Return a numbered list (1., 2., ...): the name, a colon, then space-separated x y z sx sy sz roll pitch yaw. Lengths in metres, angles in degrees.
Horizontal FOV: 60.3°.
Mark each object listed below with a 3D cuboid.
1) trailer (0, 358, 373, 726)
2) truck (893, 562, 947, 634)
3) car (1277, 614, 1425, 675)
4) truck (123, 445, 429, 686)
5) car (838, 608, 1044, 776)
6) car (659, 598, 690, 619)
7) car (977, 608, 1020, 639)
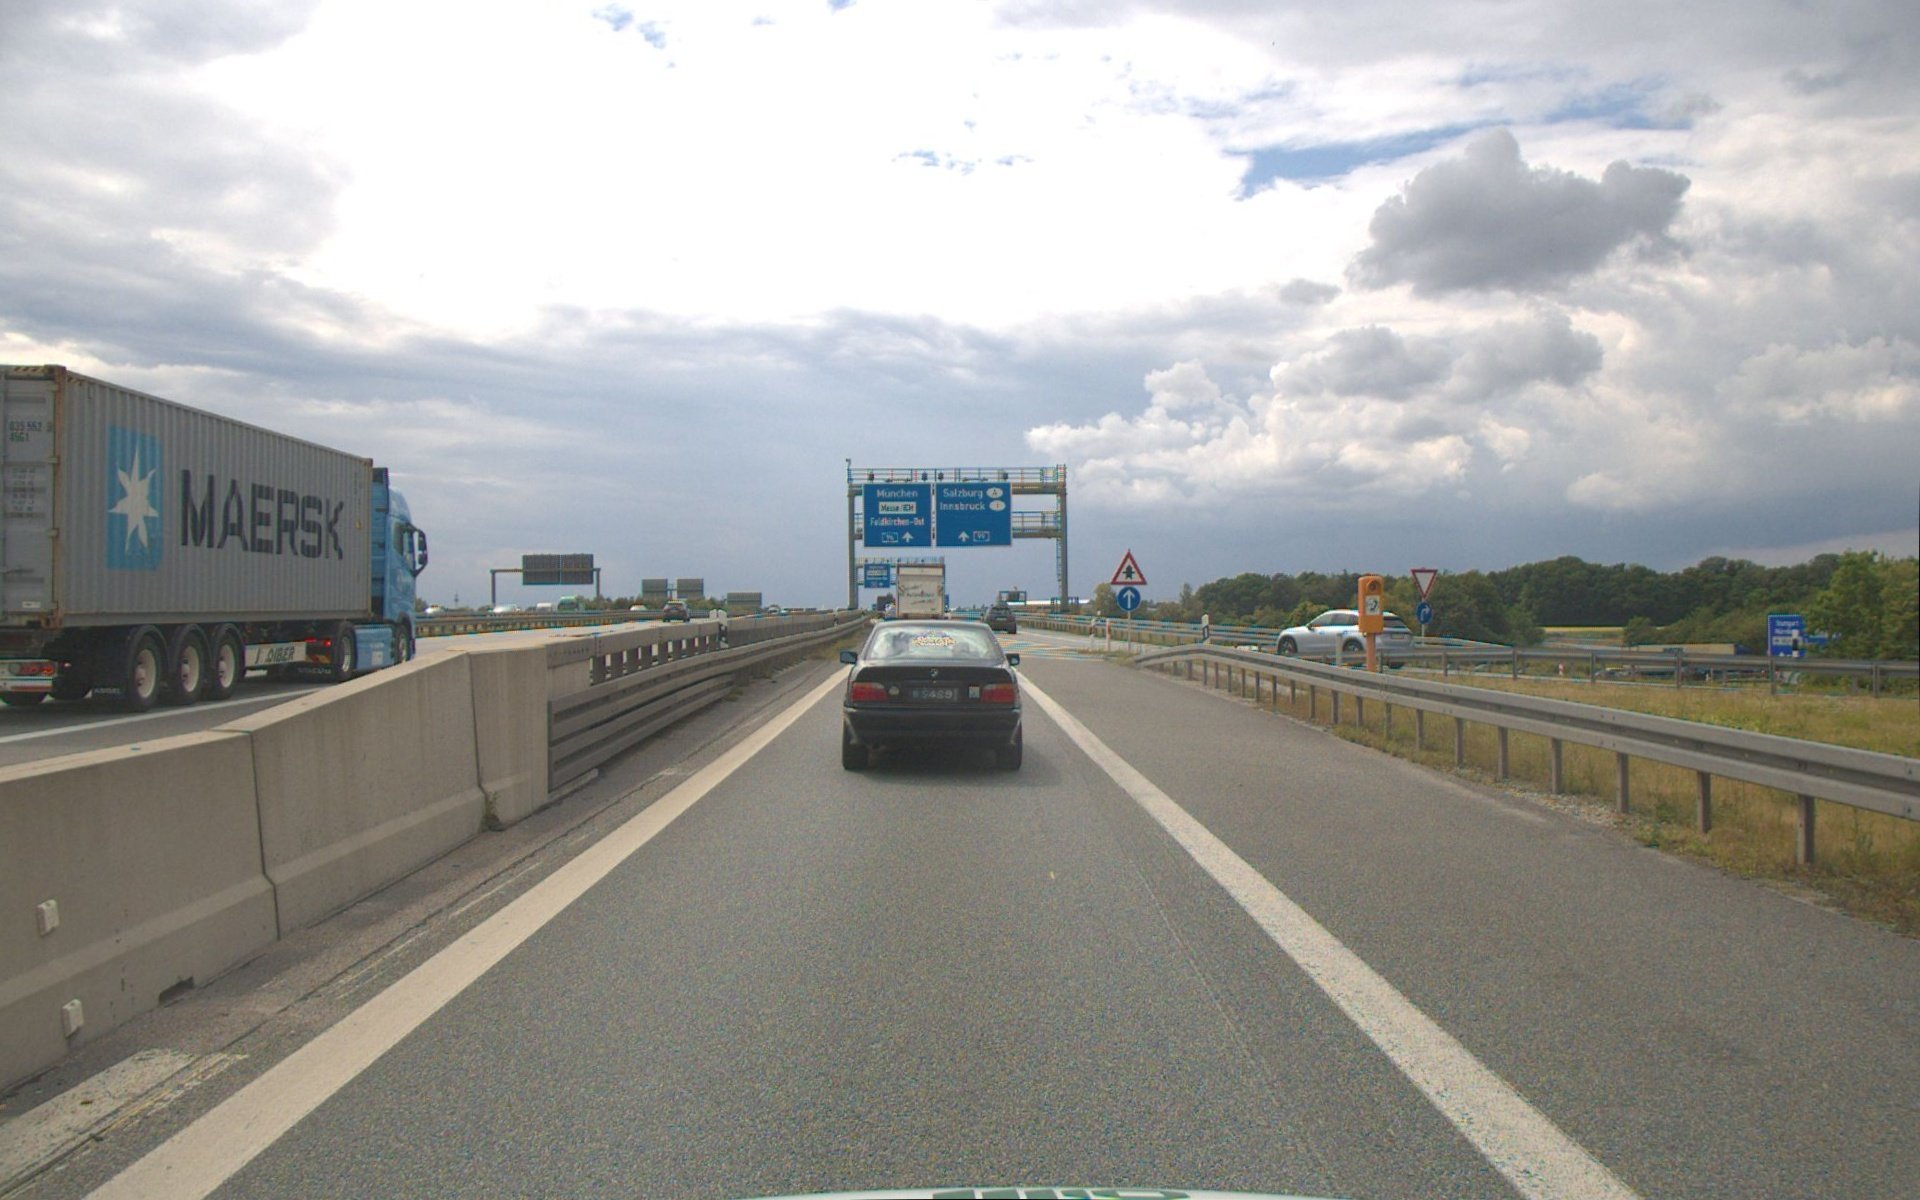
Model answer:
1. trailer: -11.995 -0.630 24.073 3.172 3.993 12.370 1 0 -4
2. truck: -1.871 -0.075 76.010 2.356 3.144 6.367 0 0 -2
3. car: 11.609 1.299 49.360 1.918 1.714 4.160 1 -1 -33
4. truck: -12.406 -0.564 30.767 3.182 3.980 6.606 1 0 -3
5. car: -0.168 0.794 16.134 1.746 1.402 4.136 0 0 0
6. car: -22.016 0.645 127.601 1.855 1.625 4.414 1 0 -4
7. car: 2.009 1.220 87.035 1.954 1.579 3.998 1 0 -3
